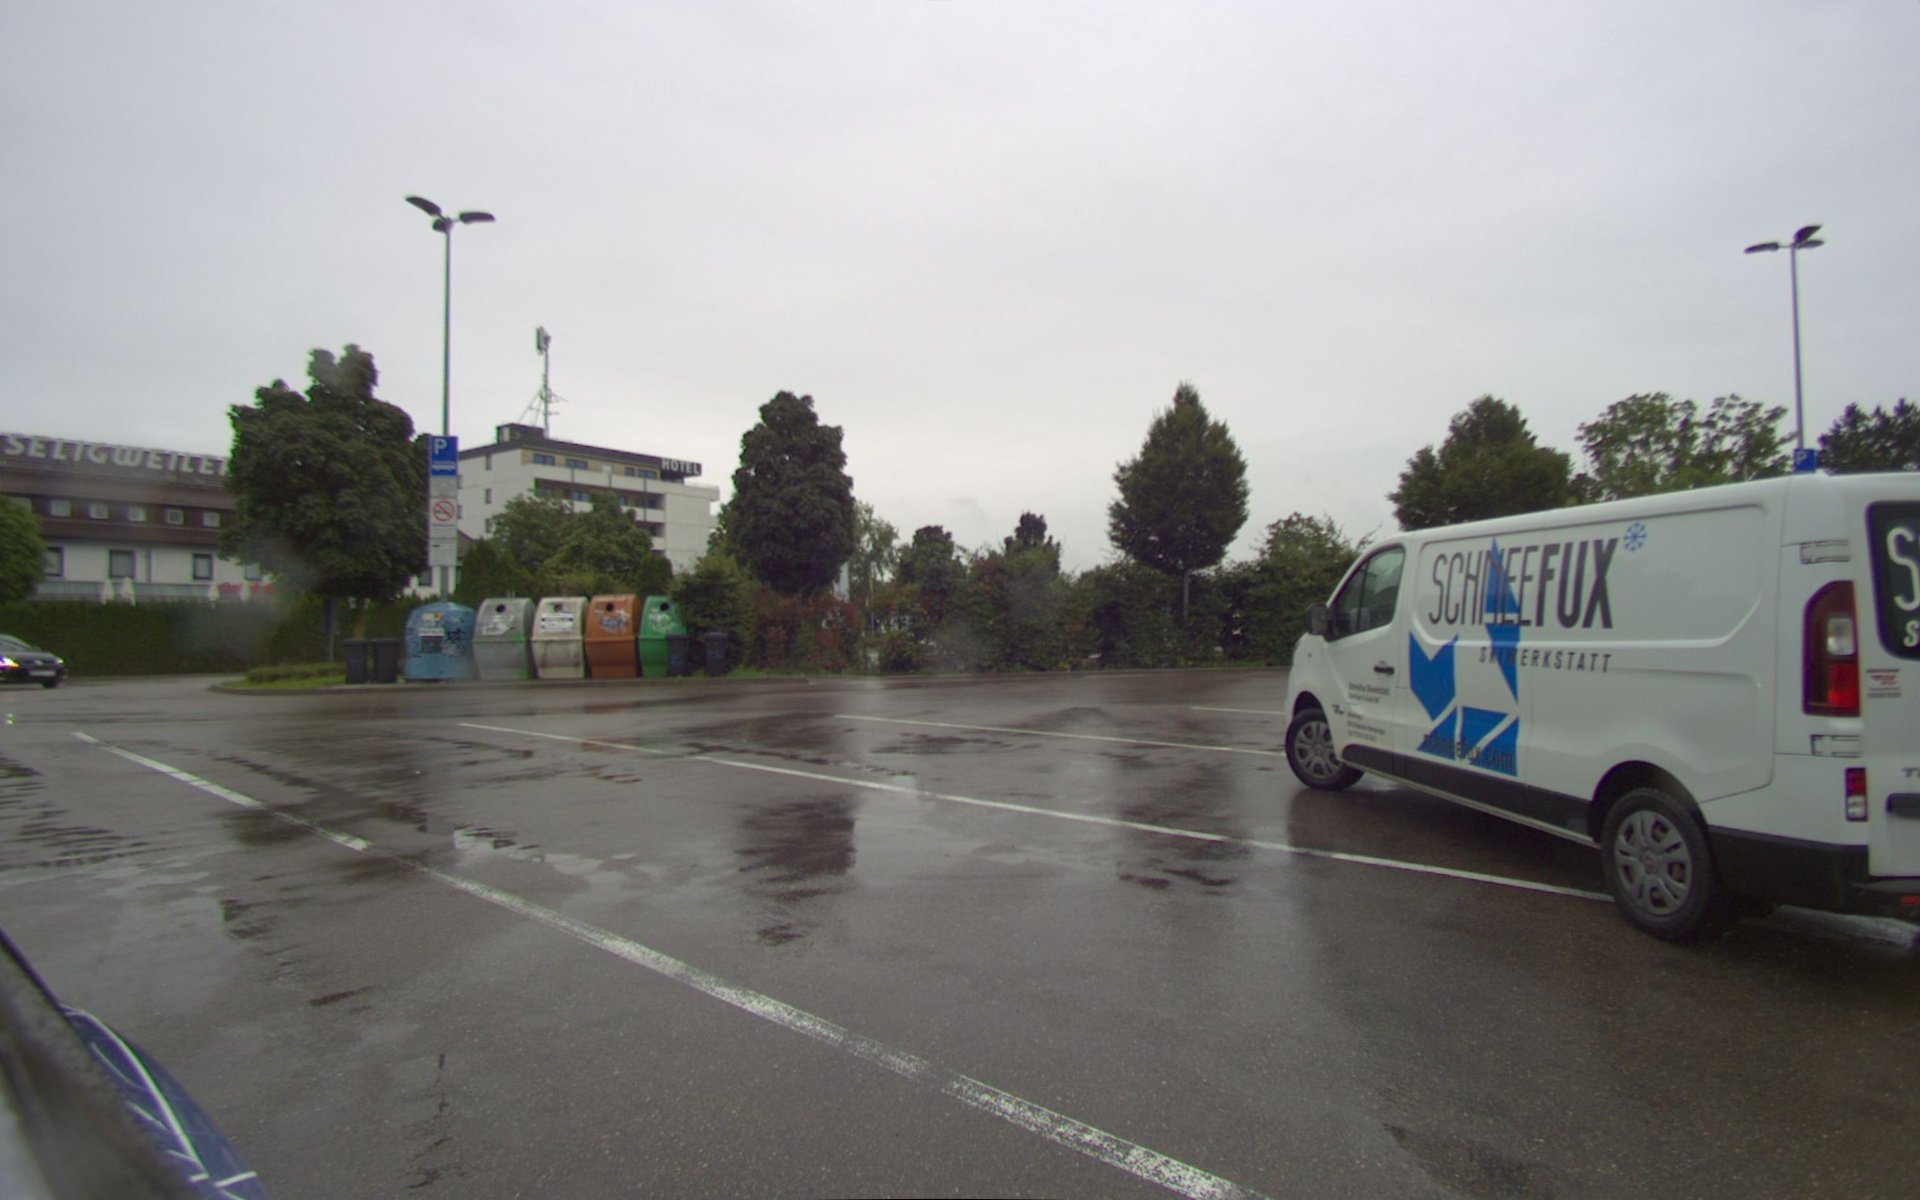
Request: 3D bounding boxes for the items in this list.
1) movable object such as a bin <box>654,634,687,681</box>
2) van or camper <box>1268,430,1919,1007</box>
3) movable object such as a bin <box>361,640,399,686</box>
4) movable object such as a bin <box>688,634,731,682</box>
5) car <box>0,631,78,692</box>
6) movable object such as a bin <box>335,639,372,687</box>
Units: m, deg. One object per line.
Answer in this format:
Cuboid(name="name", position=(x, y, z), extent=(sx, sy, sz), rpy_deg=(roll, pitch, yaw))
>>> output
Cuboid(name="movable object such as a bin", position=(-5.857, 1.158, 20.464), extent=(0.414, 0.927, 0.490), rpy_deg=(-1, -1, 27))
Cuboid(name="van or camper", position=(3.840, 0.335, 6.068), extent=(2.162, 1.959, 5.201), rpy_deg=(-1, 1, -3))
Cuboid(name="movable object such as a bin", position=(-11.778, 1.274, 20.557), extent=(0.484, 0.924, 0.447), rpy_deg=(-1, -1, 17))
Cuboid(name="movable object such as a bin", position=(-5.021, 1.147, 20.295), extent=(0.554, 0.927, 0.624), rpy_deg=(-1, -1, 27))
Cuboid(name="car", position=(-24.848, 1.546, 25.541), extent=(4.032, 1.444, 1.775), rpy_deg=(-1, -1, 9))
Cuboid(name="movable object such as a bin", position=(-12.326, 1.270, 20.566), extent=(0.484, 0.946, 0.447), rpy_deg=(-1, -1, 17))
